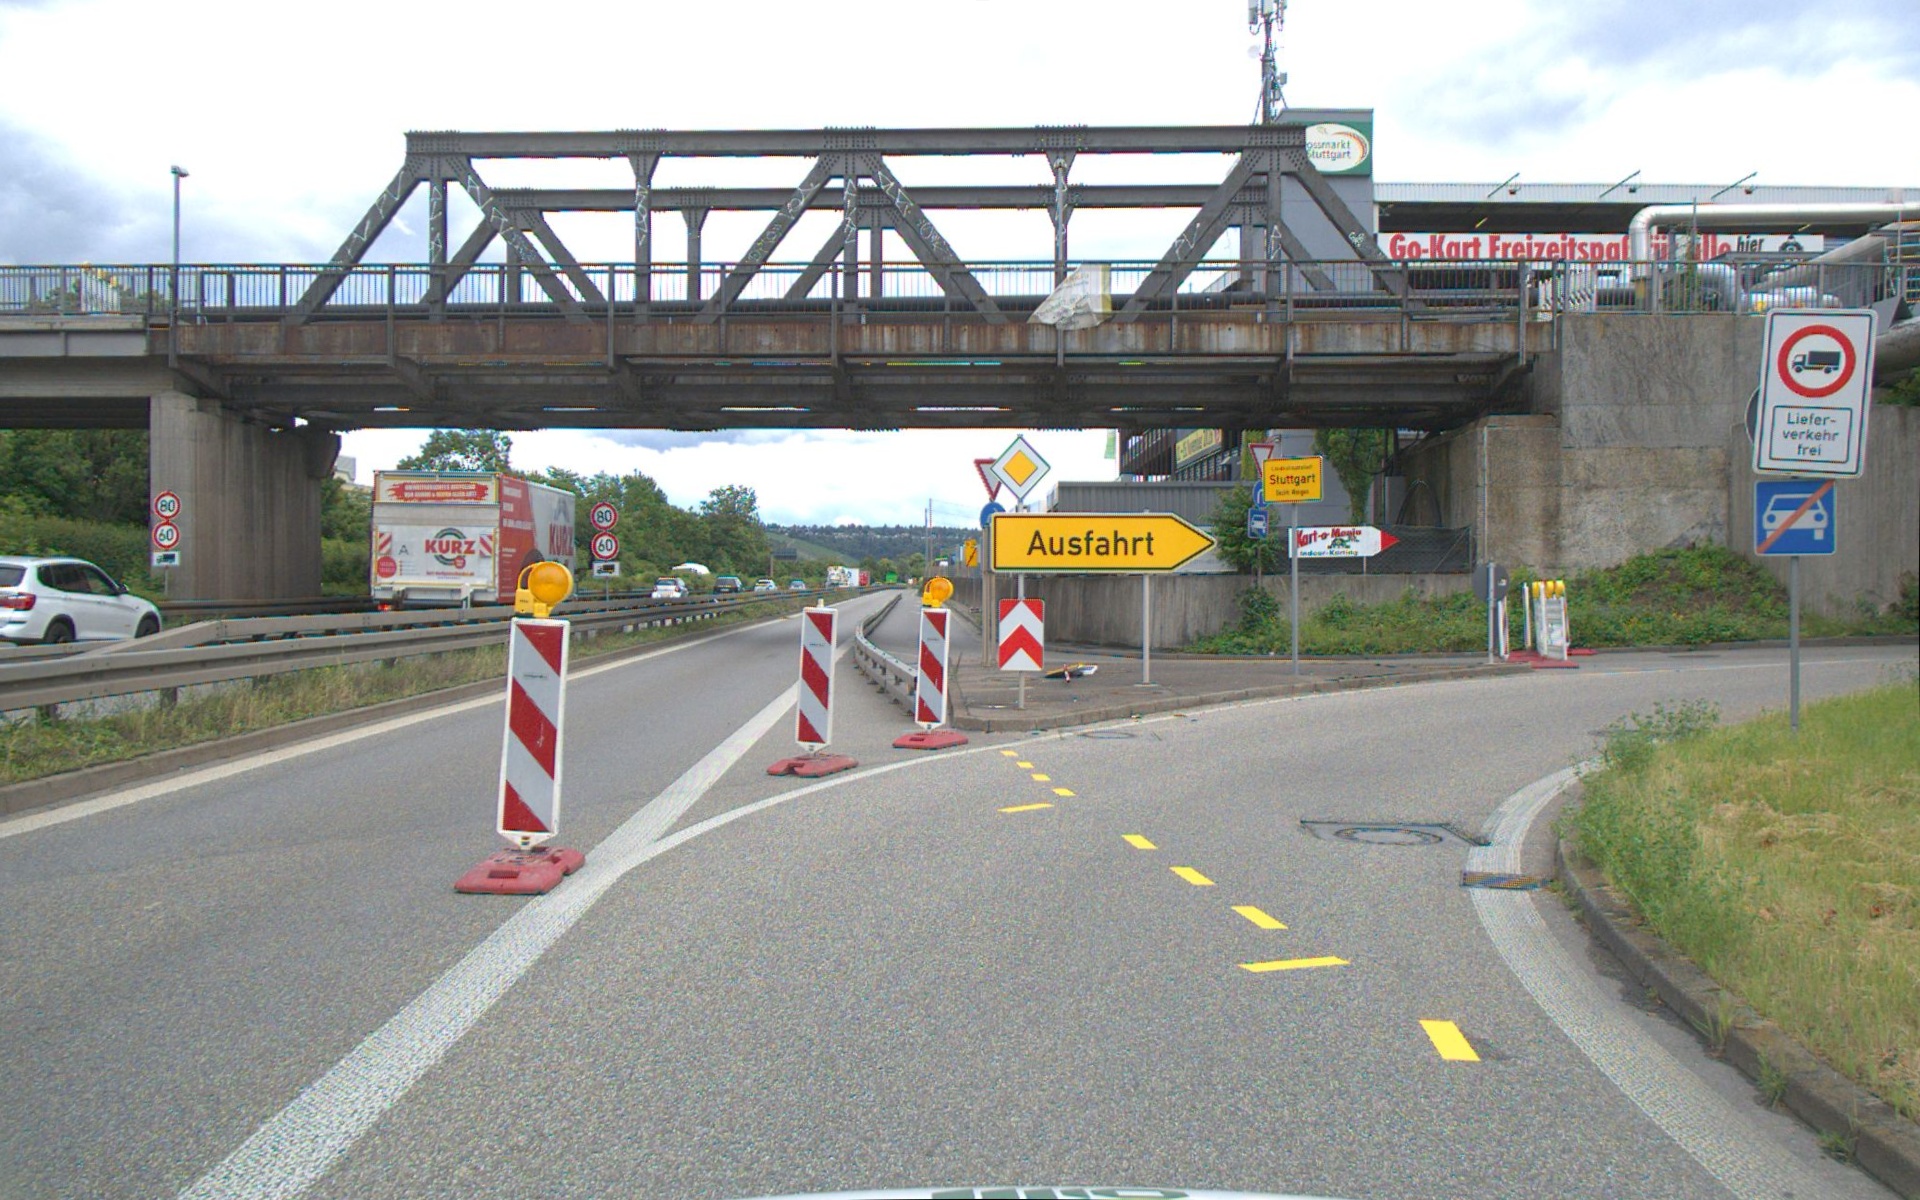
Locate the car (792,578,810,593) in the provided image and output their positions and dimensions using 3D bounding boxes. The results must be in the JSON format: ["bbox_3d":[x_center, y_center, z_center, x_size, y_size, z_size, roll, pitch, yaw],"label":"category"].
[{"bbox_3d":[-17.538,-1.565,182.622,1.743,1.624,3.749,0,1,-1],"label":"car"}]

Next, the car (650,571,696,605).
[{"bbox_3d":[-15.723,-0.657,90.692,1.953,1.790,3.998,-1,0,-2],"label":"car"}]

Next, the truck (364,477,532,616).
[{"bbox_3d":[-14.488,-1.422,47.424,2.936,3.618,7.733,-1,0,-5],"label":"truck"}]

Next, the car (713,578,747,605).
[{"bbox_3d":[-16.128,-0.591,116.153,1.954,1.790,3.998,-1,0,-3],"label":"car"}]

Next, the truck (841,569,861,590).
[{"bbox_3d":[-16.512,-3.092,251.316,2.627,3.195,6.131,1,0,-1],"label":"truck"}]

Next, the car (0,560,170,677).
[{"bbox_3d":[-14.224,0.258,25.872,1.817,1.669,4.289,1,0,-3],"label":"car"}]

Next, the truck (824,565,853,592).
[{"bbox_3d":[-17.019,-3.050,232.309,3.644,3.709,7.726,0,1,-1],"label":"truck"}]

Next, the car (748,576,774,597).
[{"bbox_3d":[-17.329,-1.188,143.997,1.954,1.847,3.998,0,1,-3],"label":"car"}]

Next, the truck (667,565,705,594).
[{"bbox_3d":[-28.801,-2.159,174.127,2.445,2.896,7.255,1,0,2],"label":"truck"}]

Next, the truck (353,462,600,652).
[{"bbox_3d":[-10.517,-0.866,37.302,2.893,3.693,10.150,0,0,-2],"label":"truck"}]
